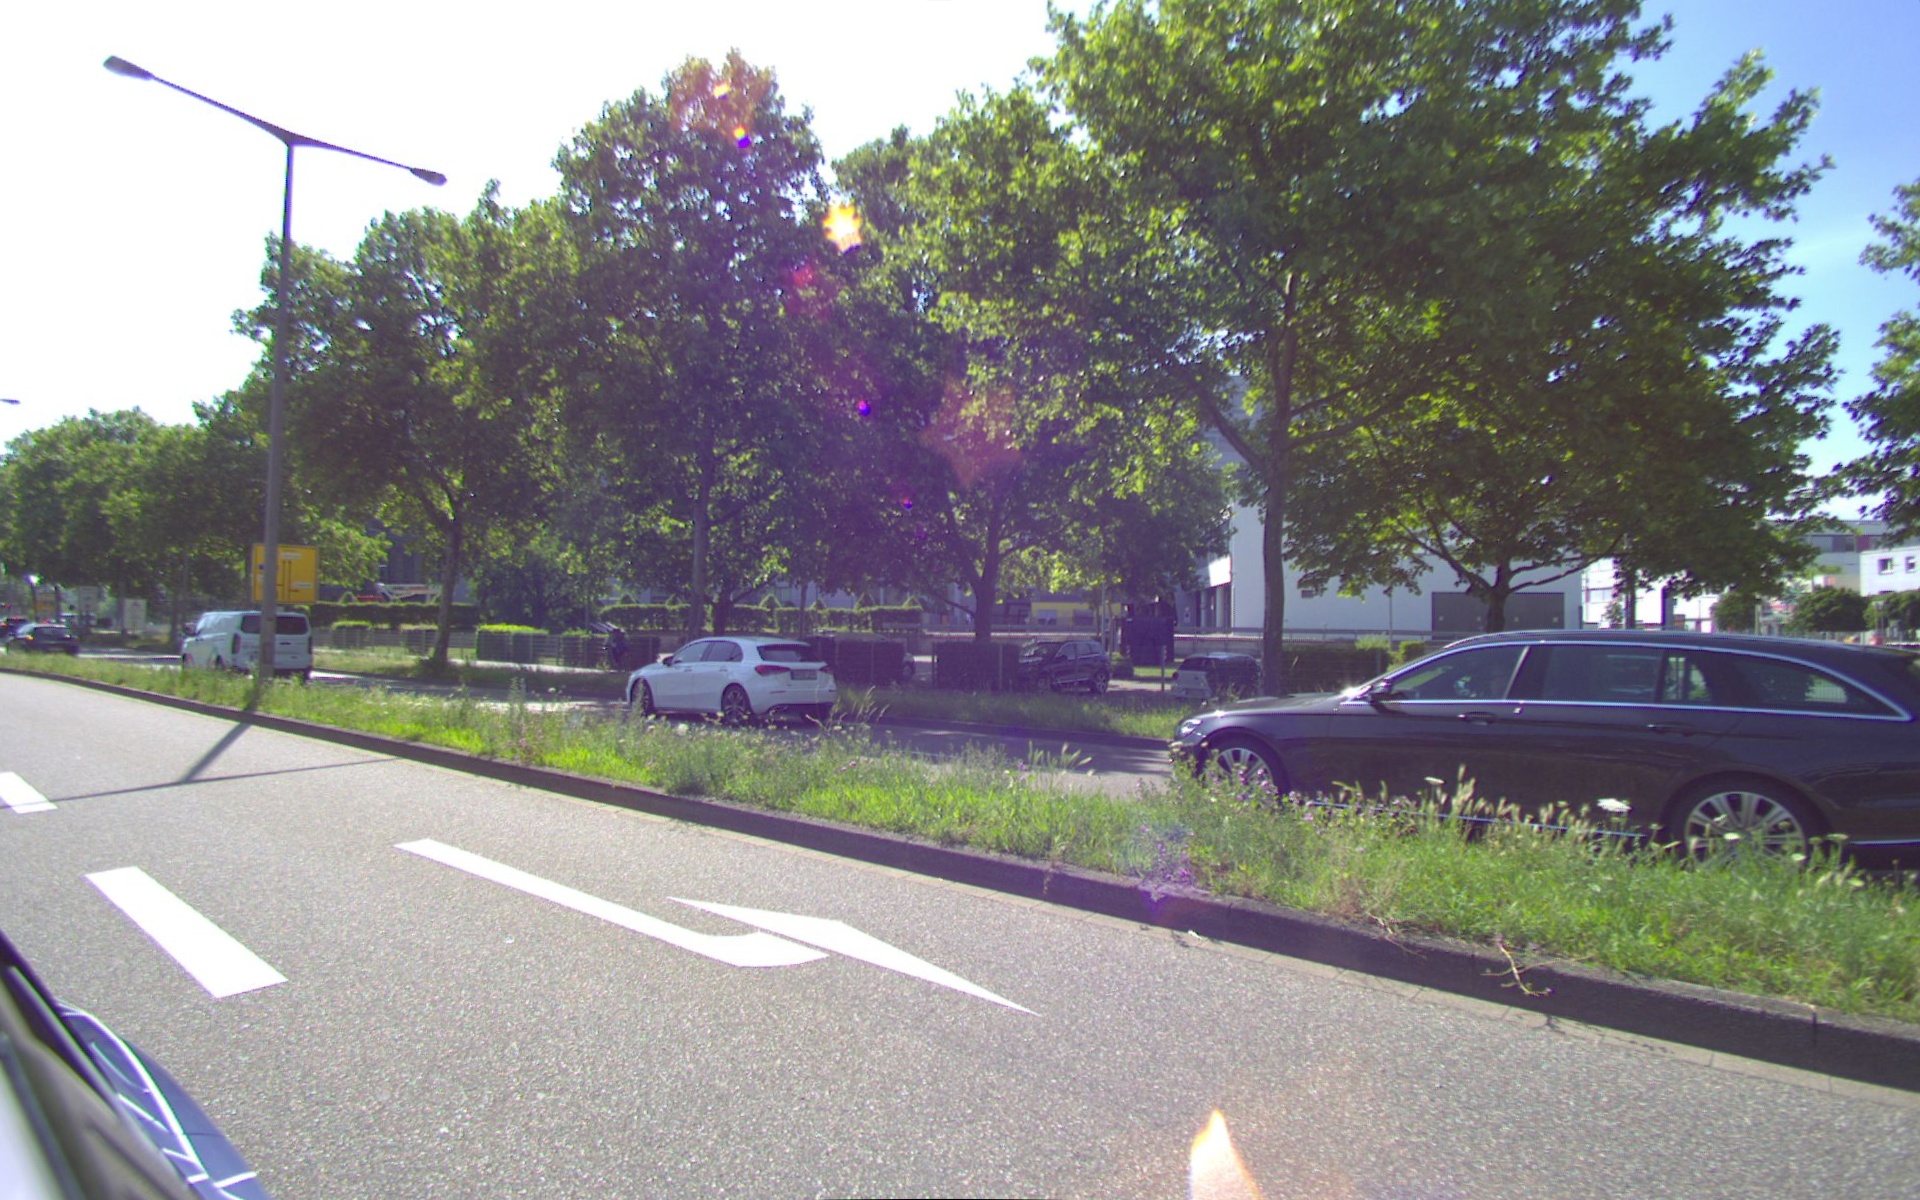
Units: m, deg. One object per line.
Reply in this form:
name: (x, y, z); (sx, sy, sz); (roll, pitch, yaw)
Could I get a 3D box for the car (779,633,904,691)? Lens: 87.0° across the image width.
car: (-4.181, 2.146, 36.006); (2.157, 1.836, 3.942); (-1, -1, 44)

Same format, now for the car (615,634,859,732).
car: (-3.863, 1.325, 17.143); (4.356, 1.409, 1.768); (-1, -3, 41)

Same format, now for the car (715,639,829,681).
car: (-6.947, 2.201, 37.704); (1.772, 1.475, 3.945); (-2, -3, 41)

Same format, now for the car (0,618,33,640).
car: (-80.971, 2.505, 86.501); (4.648, 1.849, 1.973); (-2, -4, 41)

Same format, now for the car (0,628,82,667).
car: (-37.006, 1.900, 40.698); (4.277, 1.480, 1.751); (-1, -3, 38)

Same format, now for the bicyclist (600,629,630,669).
bicyclist: (-13.047, 1.856, 38.254); (0.941, 1.496, 0.674); (-1, -3, 41)

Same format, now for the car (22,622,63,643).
car: (-67.202, 2.352, 74.094); (3.998, 1.473, 1.745); (-1, -4, 41)

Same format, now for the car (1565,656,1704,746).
car: (13.234, 1.880, 19.759); (1.808, 1.506, 3.946); (-2, -3, 40)

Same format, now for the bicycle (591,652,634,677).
bicycle: (-13.172, 2.429, 38.339); (1.925, 0.873, 0.682); (-1, -3, 41)

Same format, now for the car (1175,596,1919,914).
car: (4.011, 0.824, 6.805); (4.680, 1.542, 1.973); (-2, -3, 41)

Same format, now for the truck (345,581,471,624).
truck: (-44.234, 0.229, 81.206); (8.875, 3.421, 2.669); (0, -2, 5)

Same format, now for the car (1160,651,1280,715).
car: (6.958, 2.127, 26.849); (1.801, 1.424, 3.952); (0, -1, 35)

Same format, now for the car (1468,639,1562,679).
car: (23.728, 2.516, 43.220); (3.933, 1.516, 1.810); (0, -4, -33)

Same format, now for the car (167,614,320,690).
car: (-19.721, 1.394, 27.756); (5.415, 1.898, 2.095); (-1, -3, 40)

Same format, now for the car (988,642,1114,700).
car: (2.793, 2.079, 30.442); (1.868, 1.614, 3.946); (-2, -3, 40)
